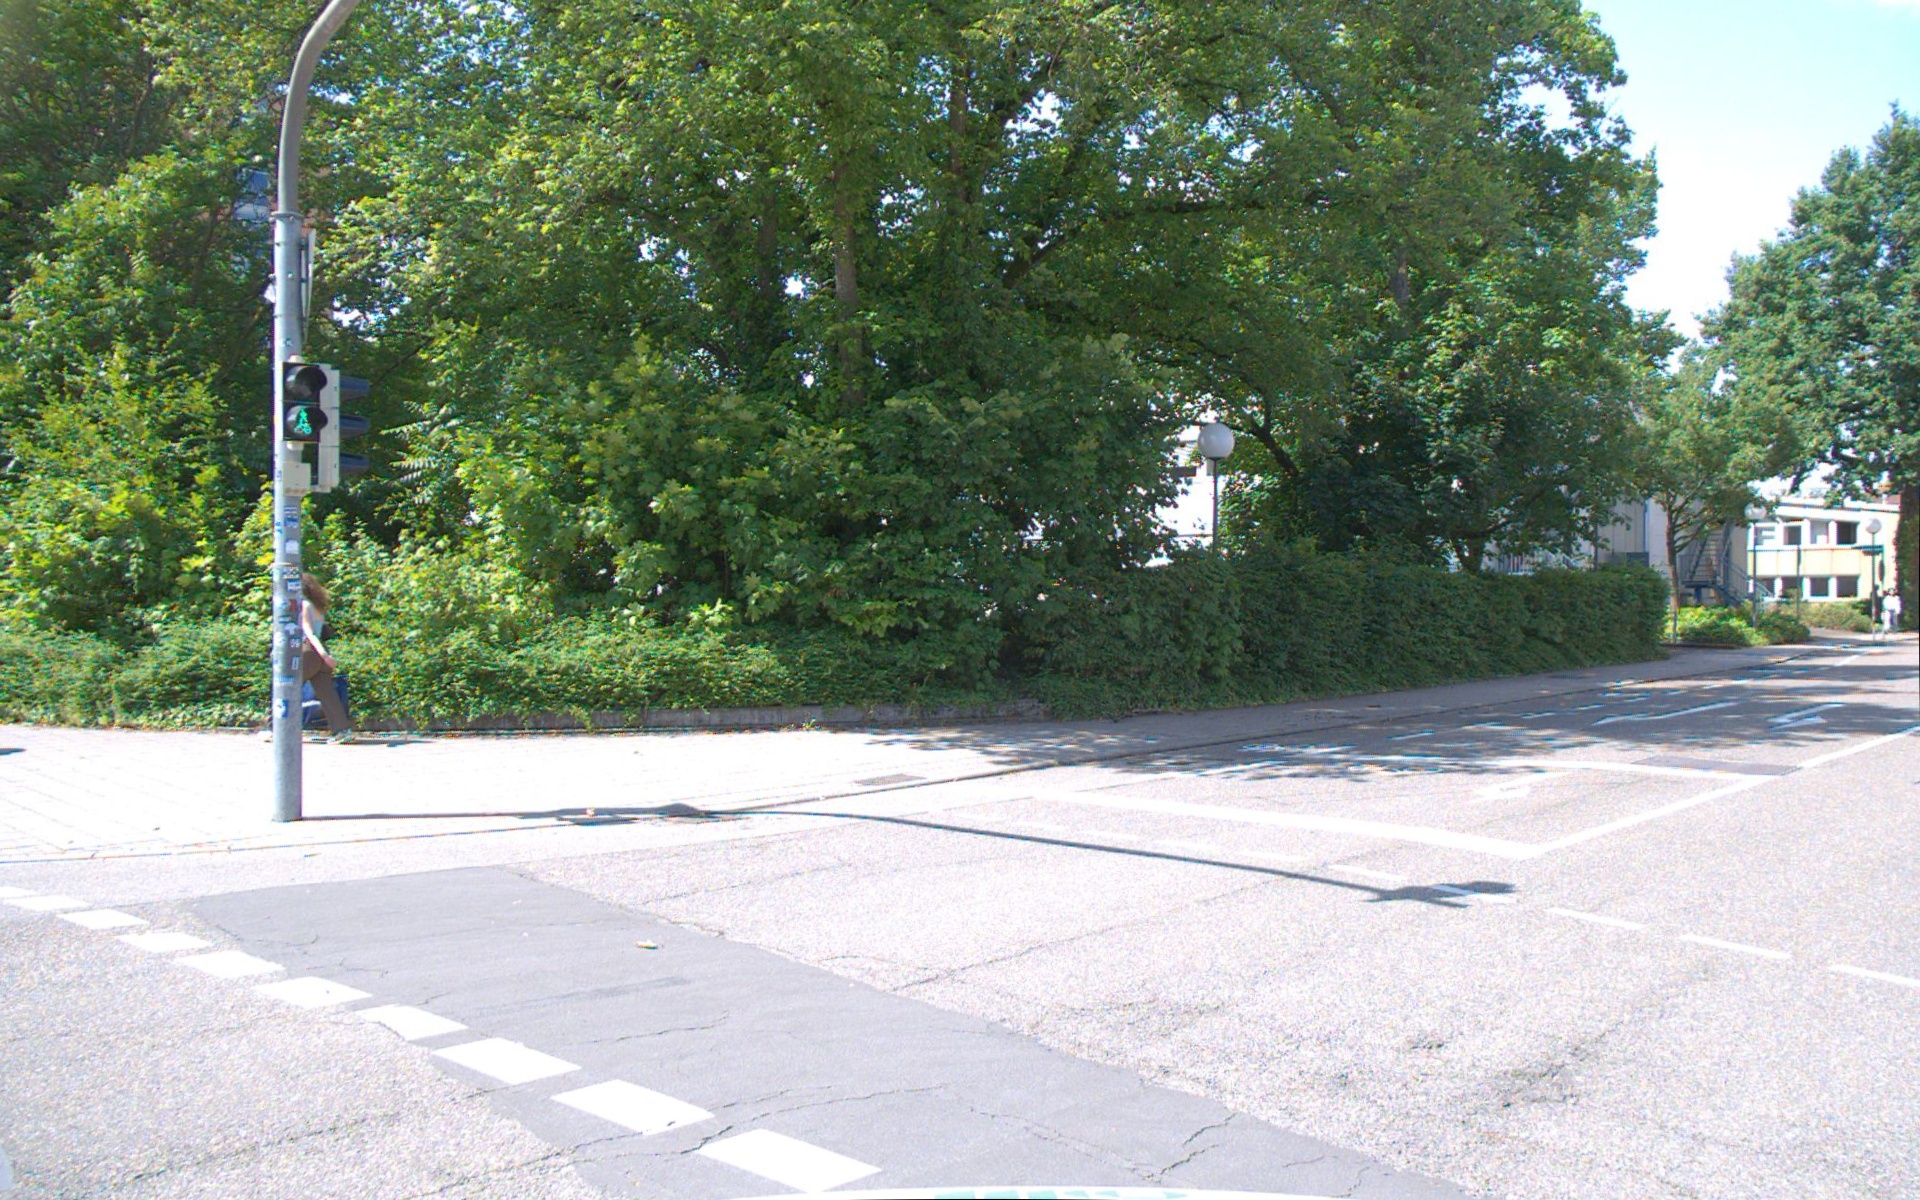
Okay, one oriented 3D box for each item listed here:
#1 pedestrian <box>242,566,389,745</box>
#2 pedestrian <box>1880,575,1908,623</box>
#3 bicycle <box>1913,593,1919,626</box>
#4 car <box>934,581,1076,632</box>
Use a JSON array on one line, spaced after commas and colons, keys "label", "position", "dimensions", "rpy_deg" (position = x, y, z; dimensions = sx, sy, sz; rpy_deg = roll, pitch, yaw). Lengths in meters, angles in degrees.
[{"label": "pedestrian", "position": [-6.227, 0.512, 16.013], "dimensions": [0.995, 1.654, 0.858], "rpy_deg": [1, 2, 17]}, {"label": "pedestrian", "position": [31.940, -0.036, 56.577], "dimensions": [0.702, 1.655, 0.879], "rpy_deg": [0, 0, 39]}, {"label": "bicycle", "position": [30.559, 0.282, 51.909], "dimensions": [0.780, 1.006, 2.199], "rpy_deg": [-1, 0, 39]}, {"label": "car", "position": [1.533, 0.212, 57.607], "dimensions": [4.850, 1.683, 1.988], "rpy_deg": [0, 1, 43]}]
